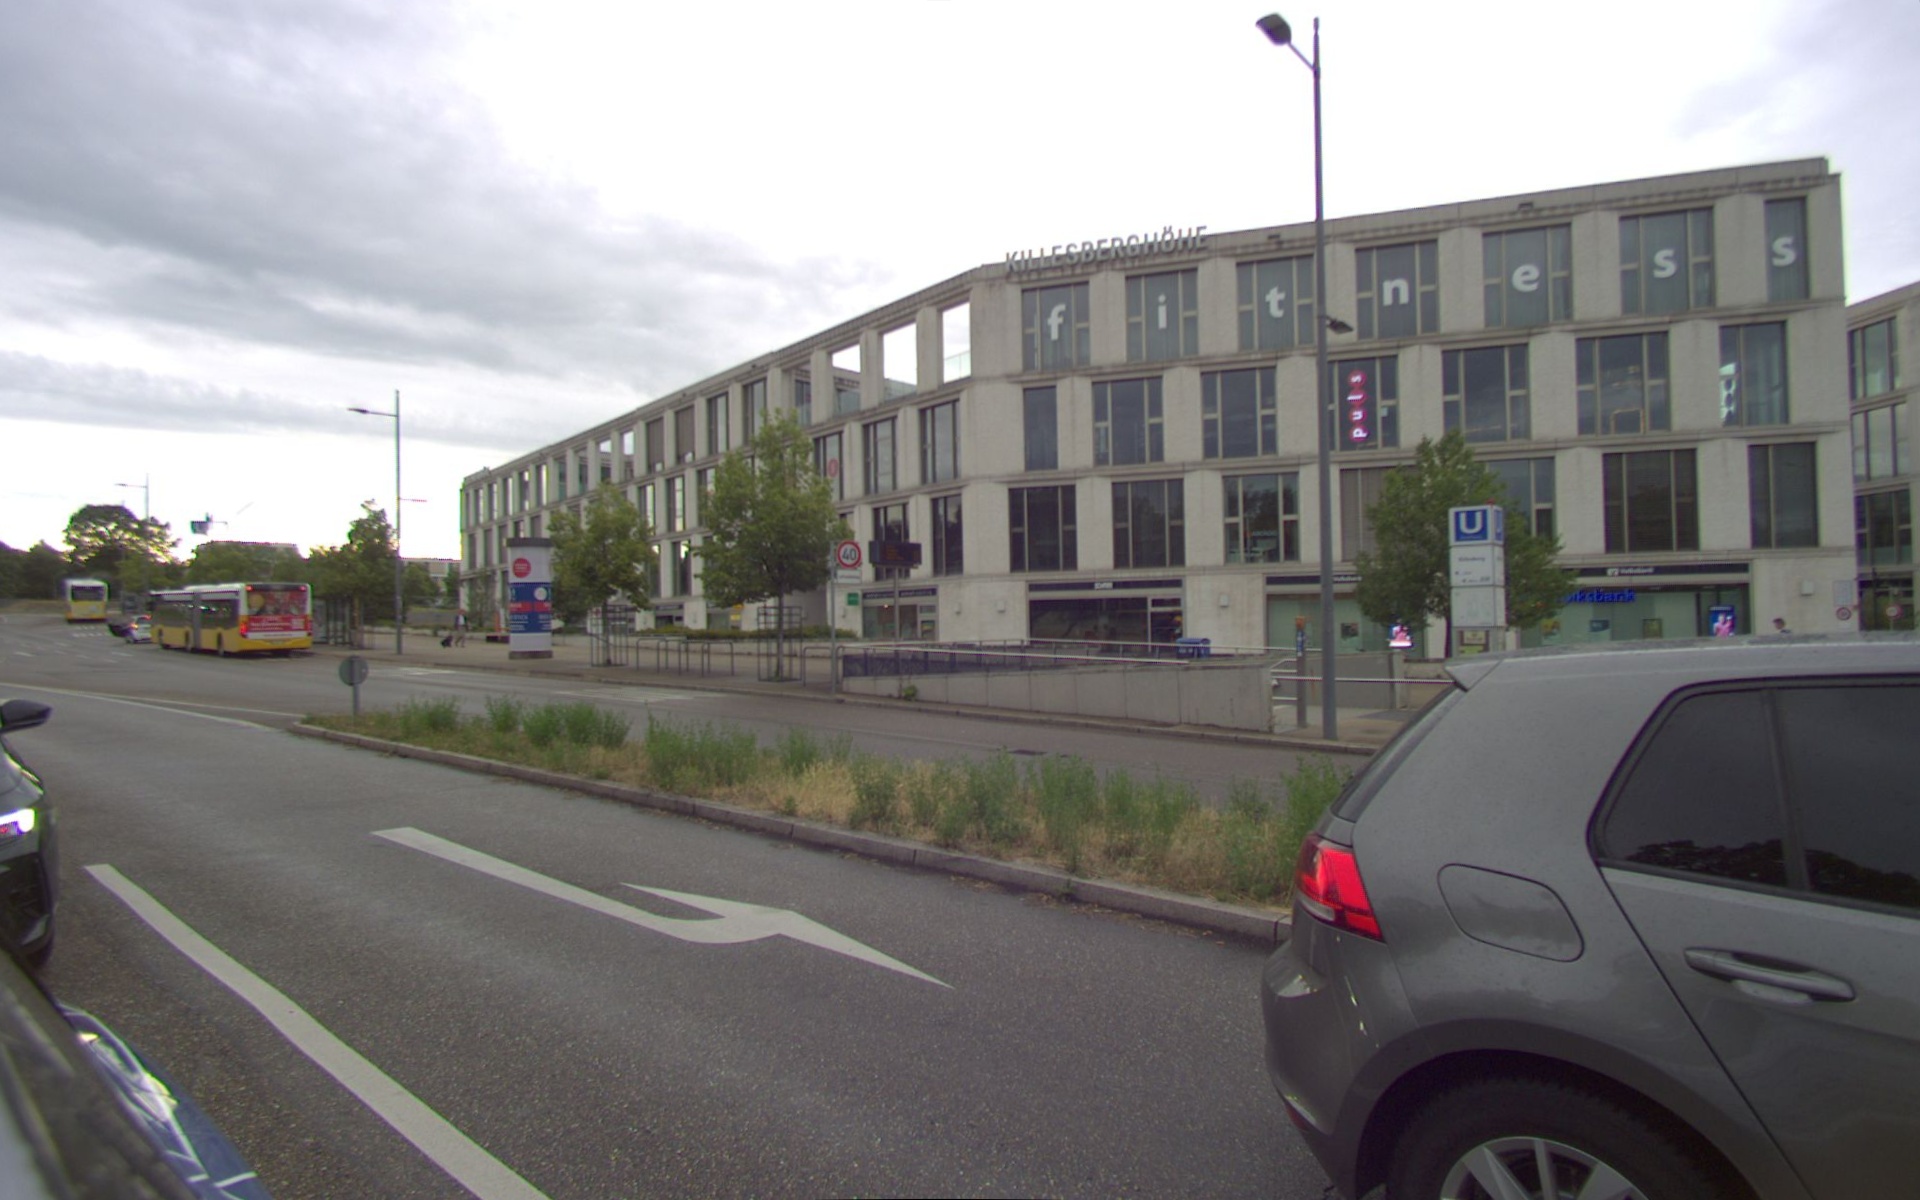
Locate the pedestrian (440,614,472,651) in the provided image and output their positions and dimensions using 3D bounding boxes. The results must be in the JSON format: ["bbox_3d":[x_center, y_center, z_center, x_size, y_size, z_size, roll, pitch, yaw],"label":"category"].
[{"bbox_3d":[-22.571,1.453,45.334,0.979,1.593,0.858,-1,0,29],"label":"pedestrian"}]

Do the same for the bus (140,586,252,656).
[{"bbox_3d":[-38.158,0.985,50.387,9.911,3.205,2.658,-1,0,42],"label":"bus"}]

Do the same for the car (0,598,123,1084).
[{"bbox_3d":[-5.134,0.763,4.164,4.766,1.476,1.877,-1,0,41],"label":"car"}]

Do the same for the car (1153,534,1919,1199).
[{"bbox_3d":[2.641,0.653,1.436,4.376,1.492,1.796,-1,-2,42],"label":"car"}]

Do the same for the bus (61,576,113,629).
[{"bbox_3d":[-76.584,0.261,89.052,2.717,4.185,19.383,-1,0,-39],"label":"bus"}]

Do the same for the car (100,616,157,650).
[{"bbox_3d":[-47.195,1.830,57.415,3.998,1.800,1.843,-1,0,41],"label":"car"}]

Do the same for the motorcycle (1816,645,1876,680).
[{"bbox_3d":[20.469,1.438,23.394,0.517,0.746,1.098,-1,0,9],"label":"motorcycle"}]

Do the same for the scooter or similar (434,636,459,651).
[{"bbox_3d":[-22.950,1.944,45.223,0.828,0.656,0.636,-1,-1,25],"label":"scooter or similar"}]

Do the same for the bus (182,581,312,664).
[{"bbox_3d":[-31.132,0.916,43.980,9.206,3.236,2.723,-1,0,43],"label":"bus"}]

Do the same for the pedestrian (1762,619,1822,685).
[{"bbox_3d":[20.713,1.278,25.216,0.907,1.617,0.760,0,-1,18],"label":"pedestrian"}]
